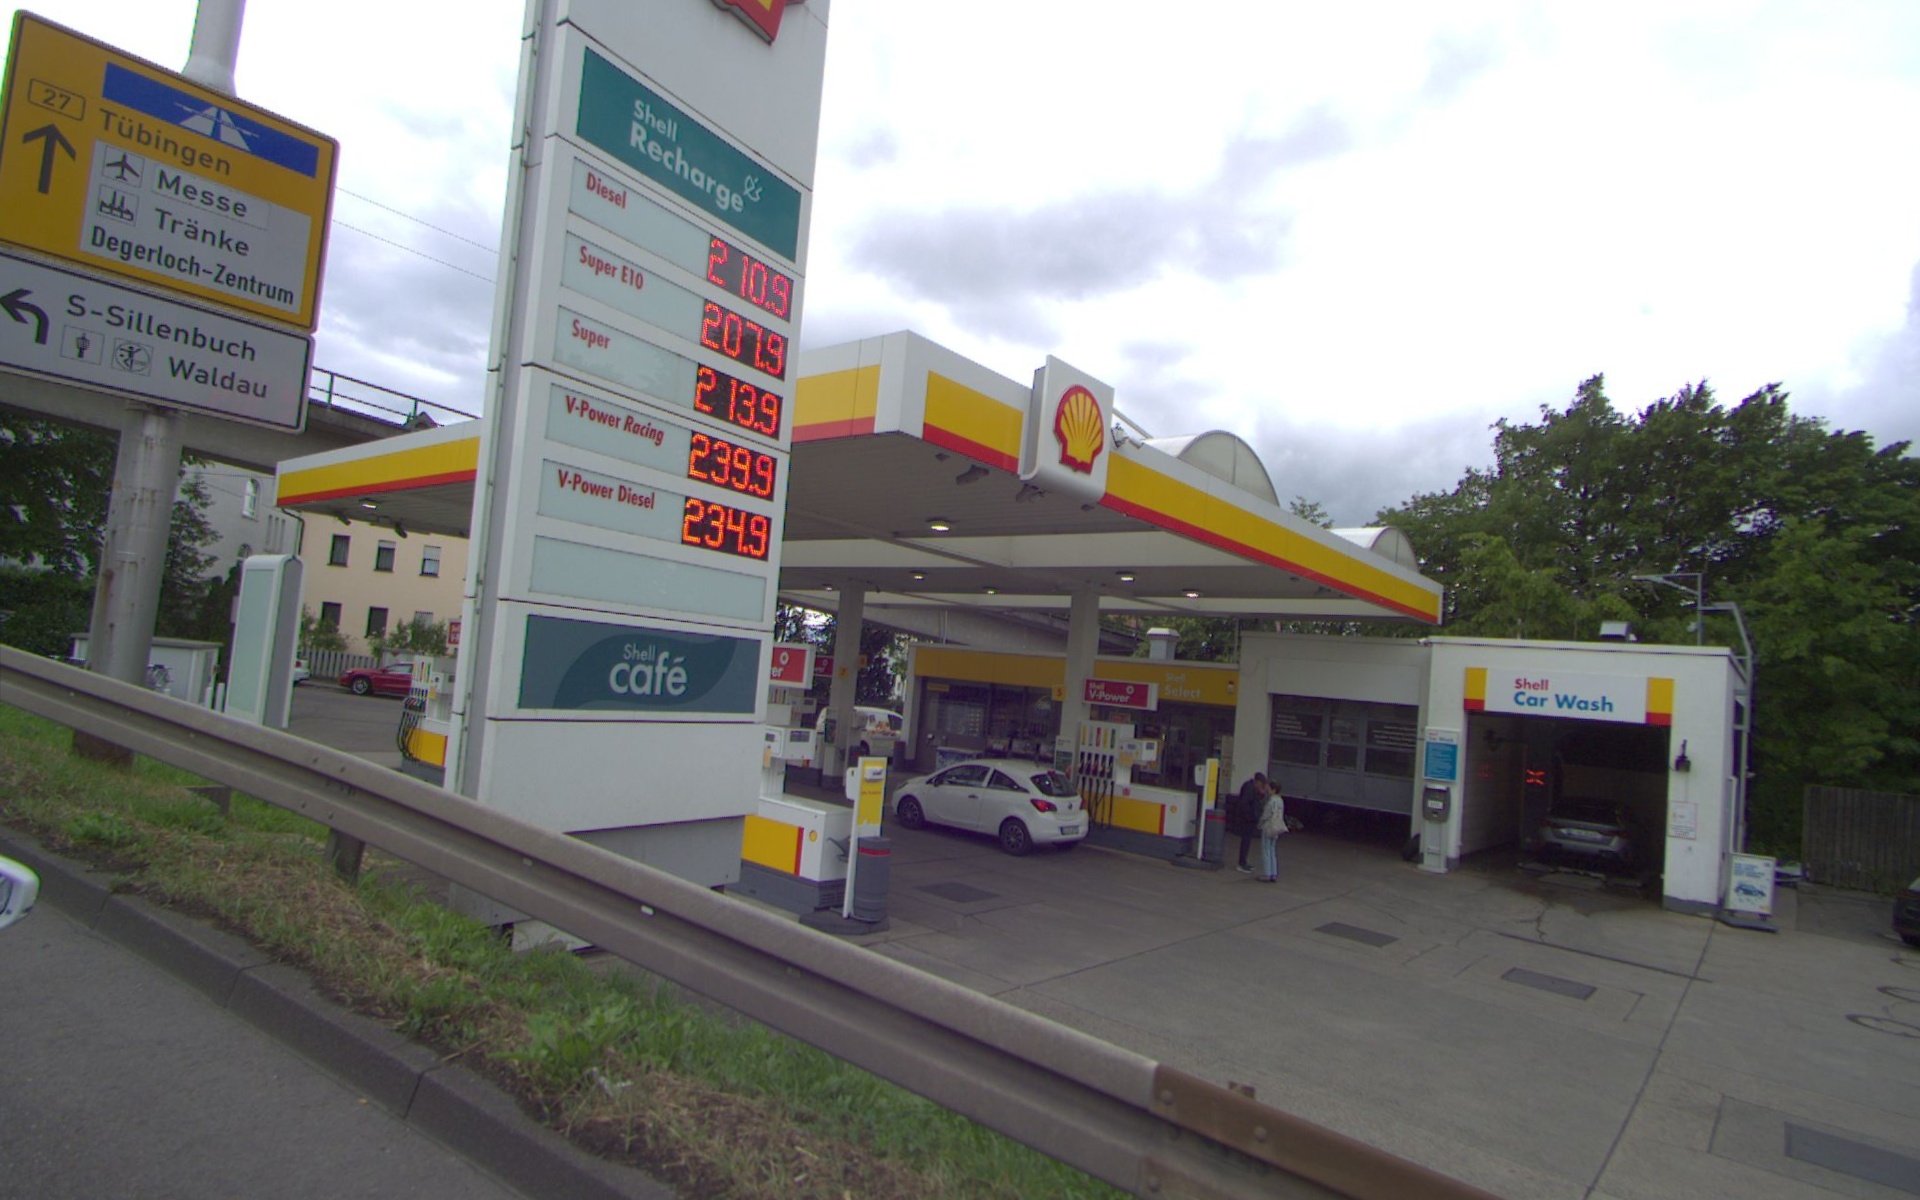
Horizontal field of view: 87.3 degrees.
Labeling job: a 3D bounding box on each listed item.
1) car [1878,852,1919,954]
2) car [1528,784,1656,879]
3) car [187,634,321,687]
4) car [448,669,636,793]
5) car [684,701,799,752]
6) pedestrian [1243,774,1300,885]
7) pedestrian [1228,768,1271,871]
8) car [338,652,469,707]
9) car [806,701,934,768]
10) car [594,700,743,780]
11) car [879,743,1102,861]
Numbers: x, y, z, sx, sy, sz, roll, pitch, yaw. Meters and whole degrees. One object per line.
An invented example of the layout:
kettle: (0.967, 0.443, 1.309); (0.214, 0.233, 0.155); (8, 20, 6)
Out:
car: (16.934, 4.980, 16.223); (4.053, 1.453, 1.714); (6, -2, -26)
car: (13.727, 4.914, 21.764); (1.718, 1.502, 3.862); (2, -5, 41)
car: (-26.930, 2.346, 38.517); (3.718, 1.408, 1.647); (11, -6, -18)
car: (-8.841, 2.657, 21.073); (4.654, 2.032, 1.732); (1, -5, 43)
car: (-7.734, 4.484, 35.663); (3.589, 1.474, 1.647); (7, -4, -31)
pedestrian: (5.269, 3.856, 17.020); (0.600, 1.724, 0.542); (6, -2, 36)
pedestrian: (5.144, 3.875, 17.841); (0.425, 1.724, 0.492); (6, -1, 32)
car: (-22.261, 3.190, 40.412); (4.249, 1.535, 1.619); (11, -6, -21)
car: (-2.919, 4.453, 33.214); (3.855, 1.959, 1.721); (8, -5, -44)
car: (-7.236, 3.407, 24.785); (3.829, 1.502, 1.733); (1, -5, 43)
car: (0.495, 3.596, 18.480); (3.829, 1.502, 1.733); (1, -5, 43)
